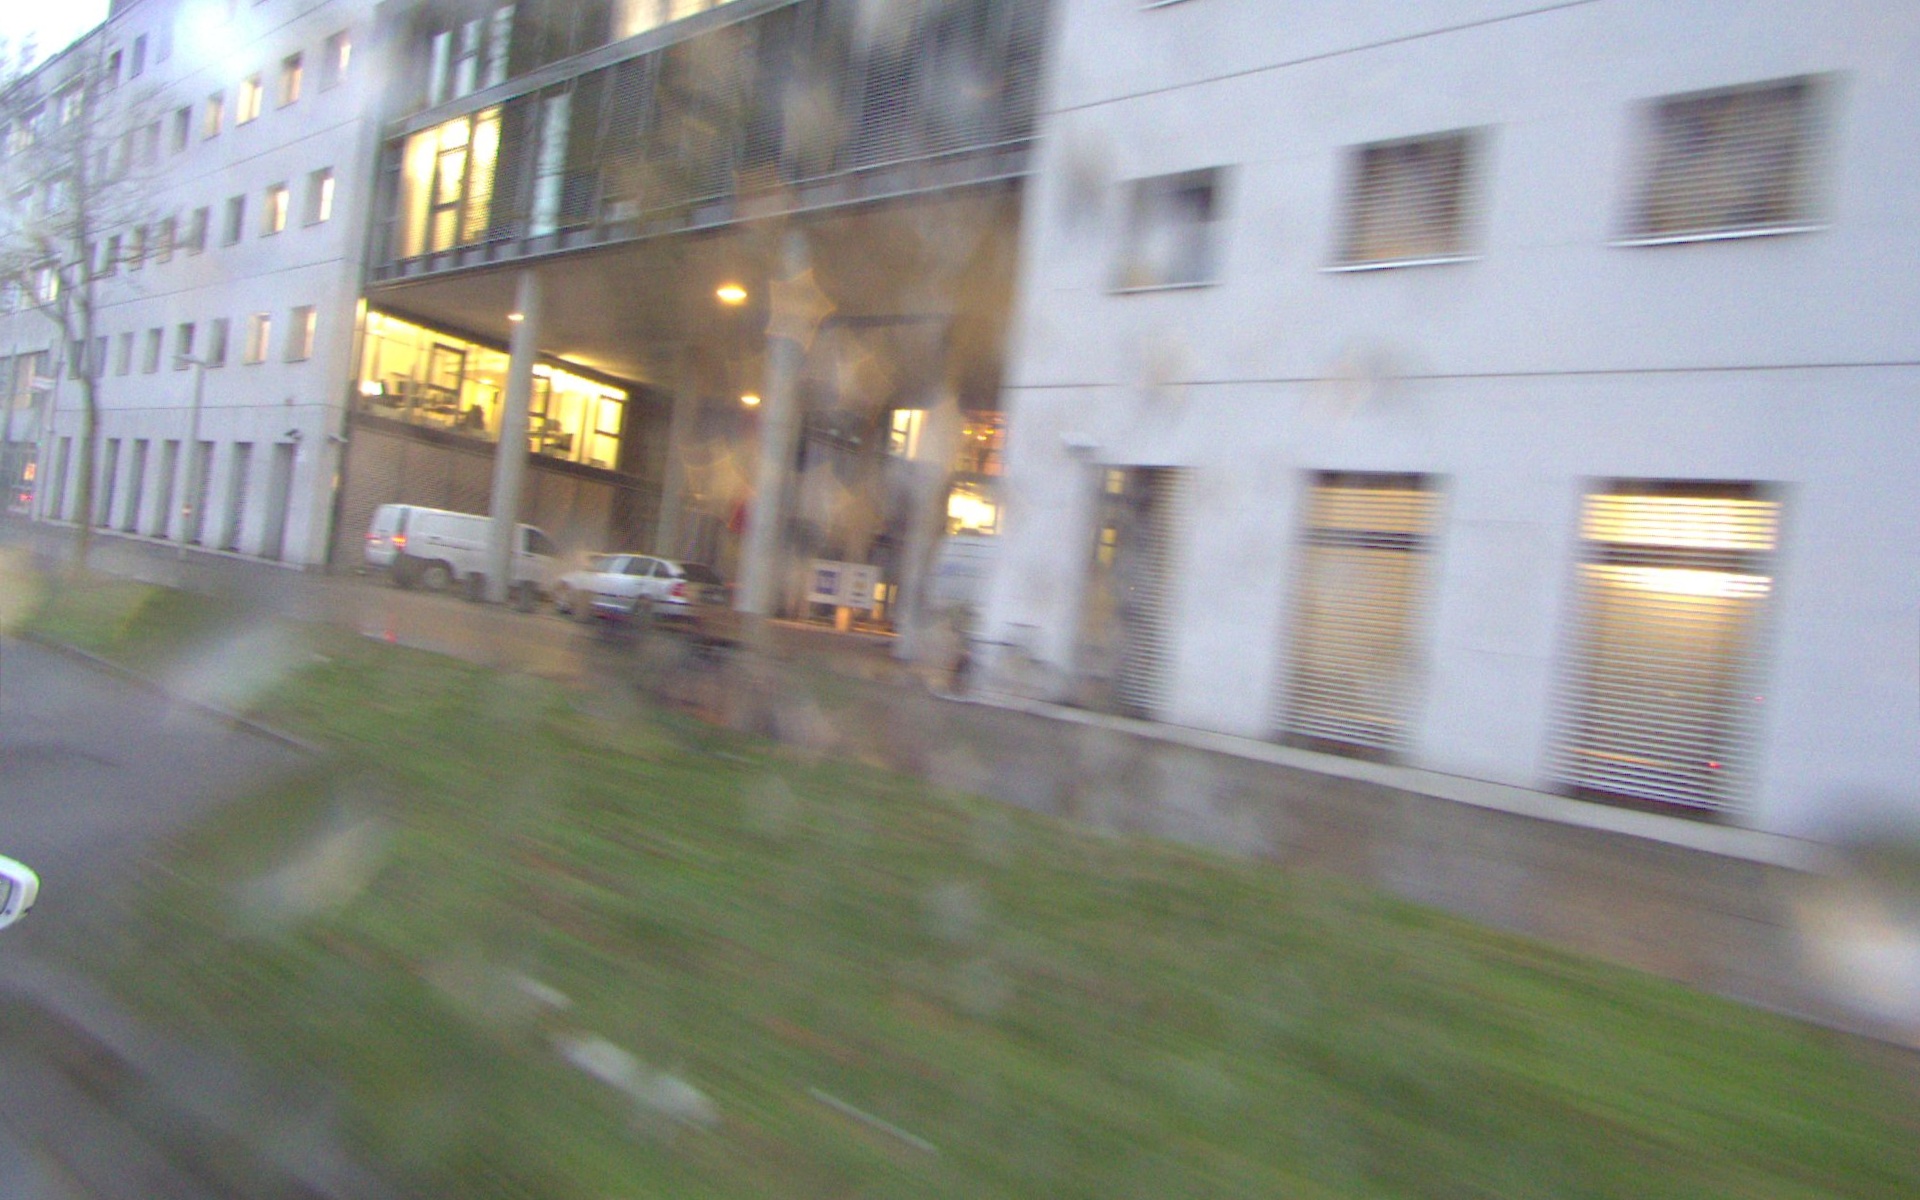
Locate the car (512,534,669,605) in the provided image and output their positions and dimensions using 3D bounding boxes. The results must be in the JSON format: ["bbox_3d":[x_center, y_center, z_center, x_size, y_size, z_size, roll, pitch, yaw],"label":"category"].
[{"bbox_3d":[-10.885,-0.868,29.830,1.634,1.537,3.982,8,0,41],"label":"car"}]

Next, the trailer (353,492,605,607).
[{"bbox_3d":[-11.743,-1.181,24.878,2.099,1.934,5.066,9,0,40],"label":"trailer"}]

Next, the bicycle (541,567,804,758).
[{"bbox_3d":[-2.174,0.409,7.443,2.132,1.129,0.550,6,0,34],"label":"bicycle"}]

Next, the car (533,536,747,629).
[{"bbox_3d":[-6.716,-0.392,20.935,4.456,1.386,1.635,6,-3,32],"label":"car"}]

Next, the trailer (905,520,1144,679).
[{"bbox_3d":[1.607,0.164,21.086,2.172,2.612,6.268,8,0,30],"label":"trailer"}]
